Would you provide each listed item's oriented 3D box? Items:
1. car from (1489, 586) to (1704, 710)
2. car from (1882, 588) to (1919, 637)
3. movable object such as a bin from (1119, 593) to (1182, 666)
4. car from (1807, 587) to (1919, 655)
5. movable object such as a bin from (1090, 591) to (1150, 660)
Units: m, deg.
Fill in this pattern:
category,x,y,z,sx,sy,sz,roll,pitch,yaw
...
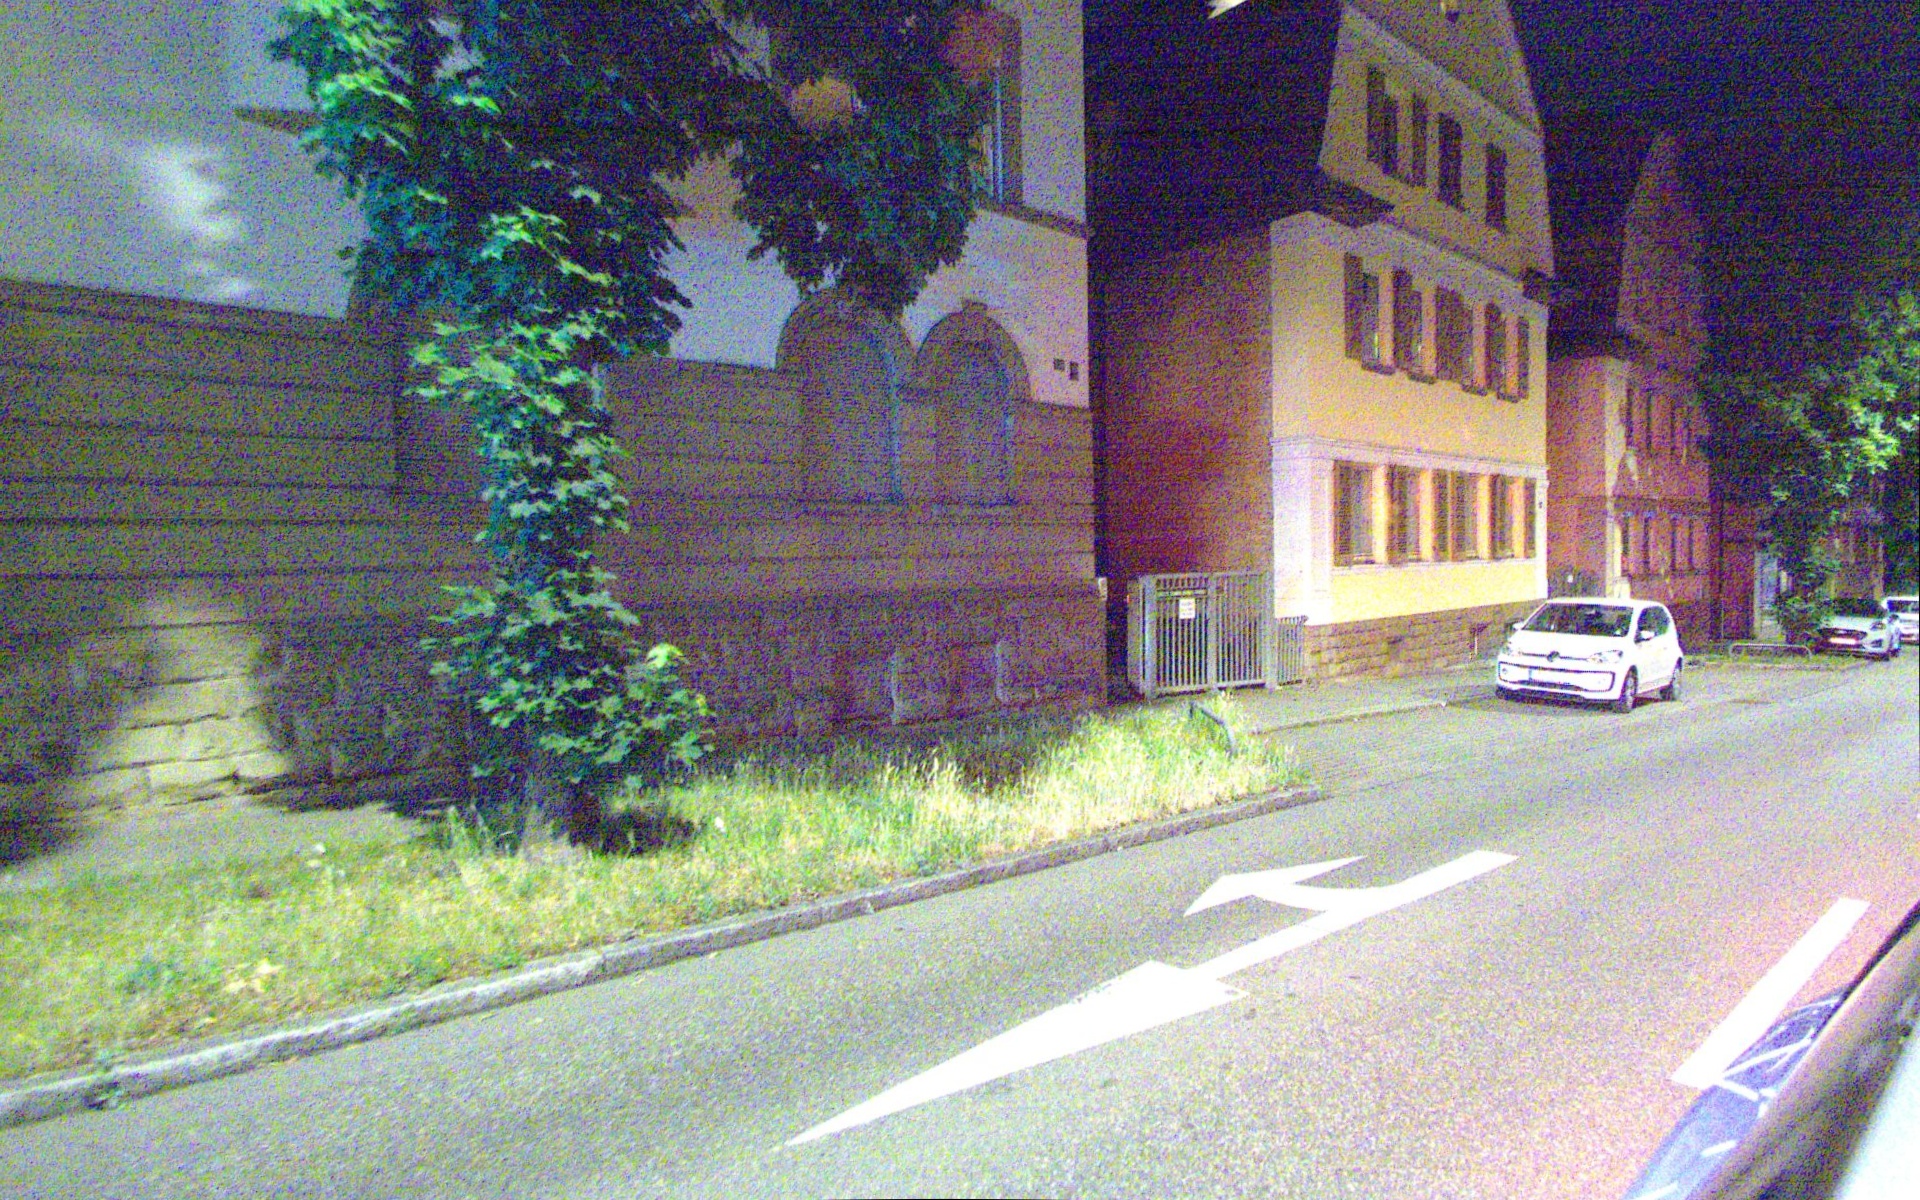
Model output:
category,x,y,z,sx,sy,sz,roll,pitch,yaw
car,9.205,0.590,14.542,3.541,1.503,1.671,0,2,-42
car,33.670,0.426,35.235,4.281,1.616,1.742,0,2,-40
movable object such as a bin,2.887,0.431,15.313,0.742,1.062,0.608,0,0,-41
car,23.688,0.497,26.464,3.977,1.572,1.862,0,3,-43
movable object such as a bin,2.513,0.386,15.877,0.742,1.062,0.608,0,0,-41
